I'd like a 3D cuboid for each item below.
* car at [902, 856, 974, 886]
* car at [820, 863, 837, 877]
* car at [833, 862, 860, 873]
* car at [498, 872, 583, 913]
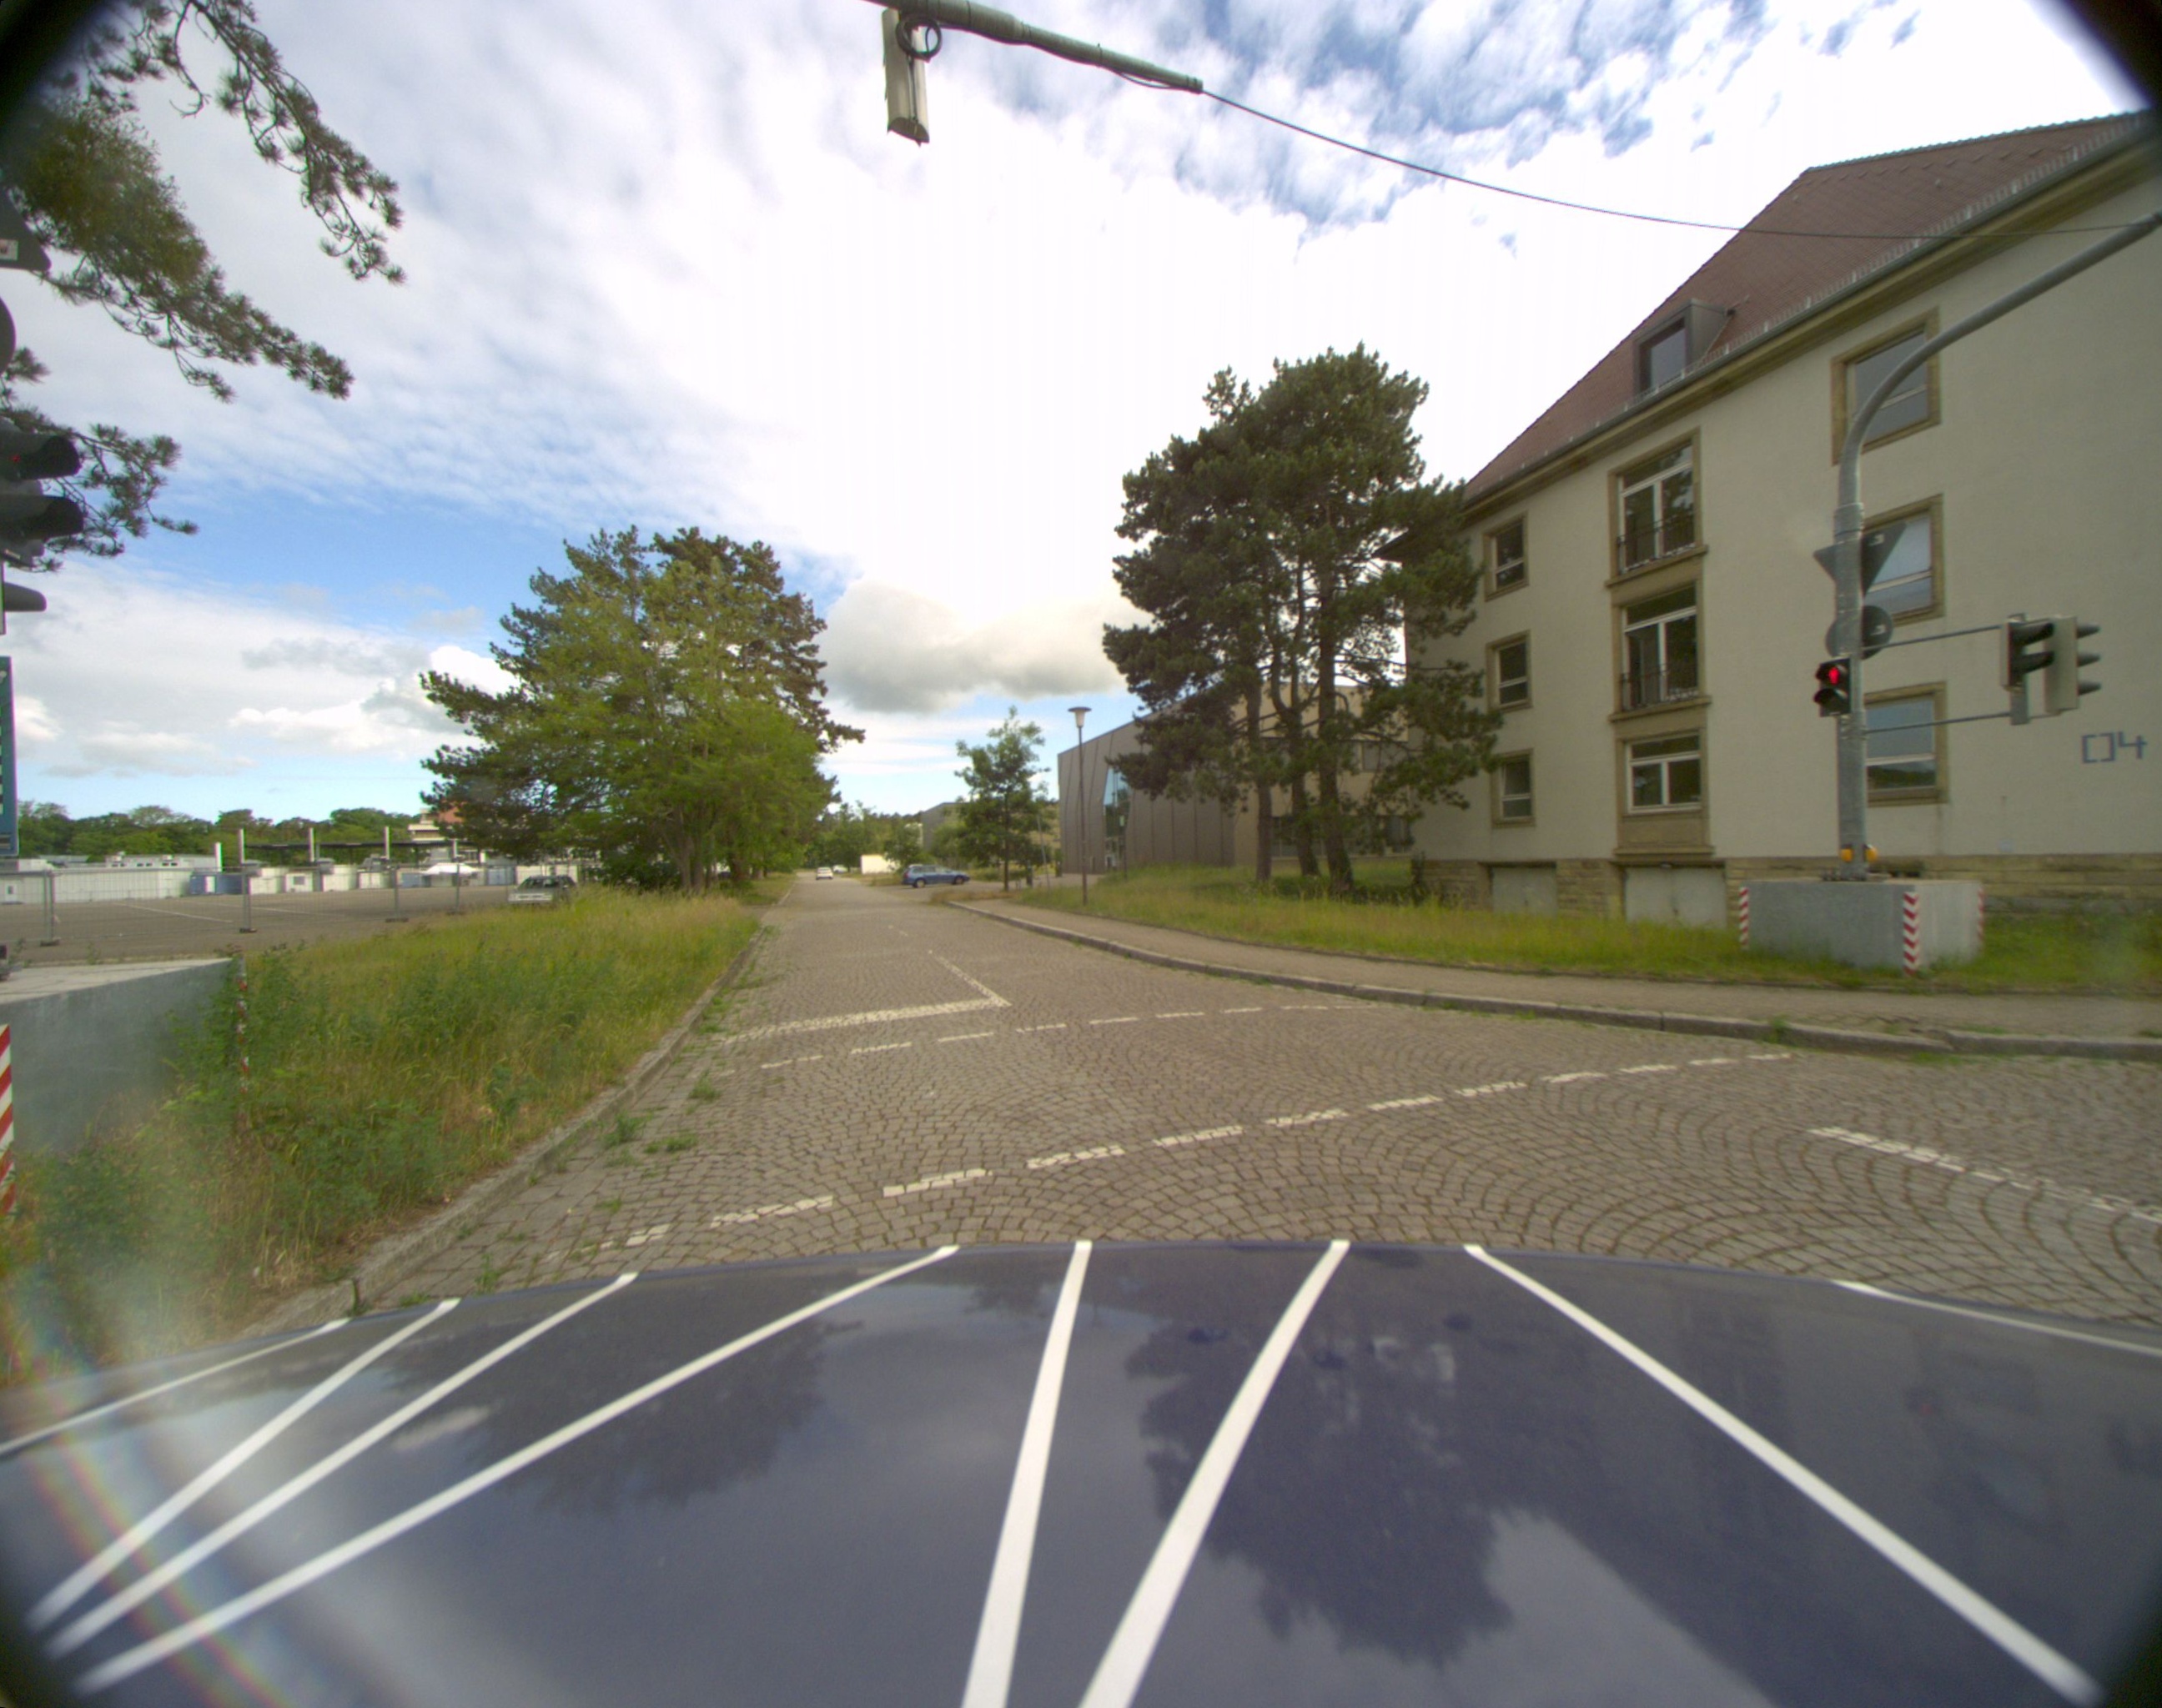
[{"bbox_3d":[-9.762,1.131,51.767,4.480,1.820,1.997,-2,0,-21],"label":"car"},{"bbox_3d":[-29.656,1.812,89.214,1.888,1.516,3.994,-2,0,-19],"label":"car"},{"bbox_3d":[-42.837,2.423,138.703,4.480,1.820,1.997,-2,0,-21],"label":"car"},{"bbox_3d":[-22.415,1.562,31.695,1.975,1.474,3.993,-2,0,-22],"label":"car"}]
